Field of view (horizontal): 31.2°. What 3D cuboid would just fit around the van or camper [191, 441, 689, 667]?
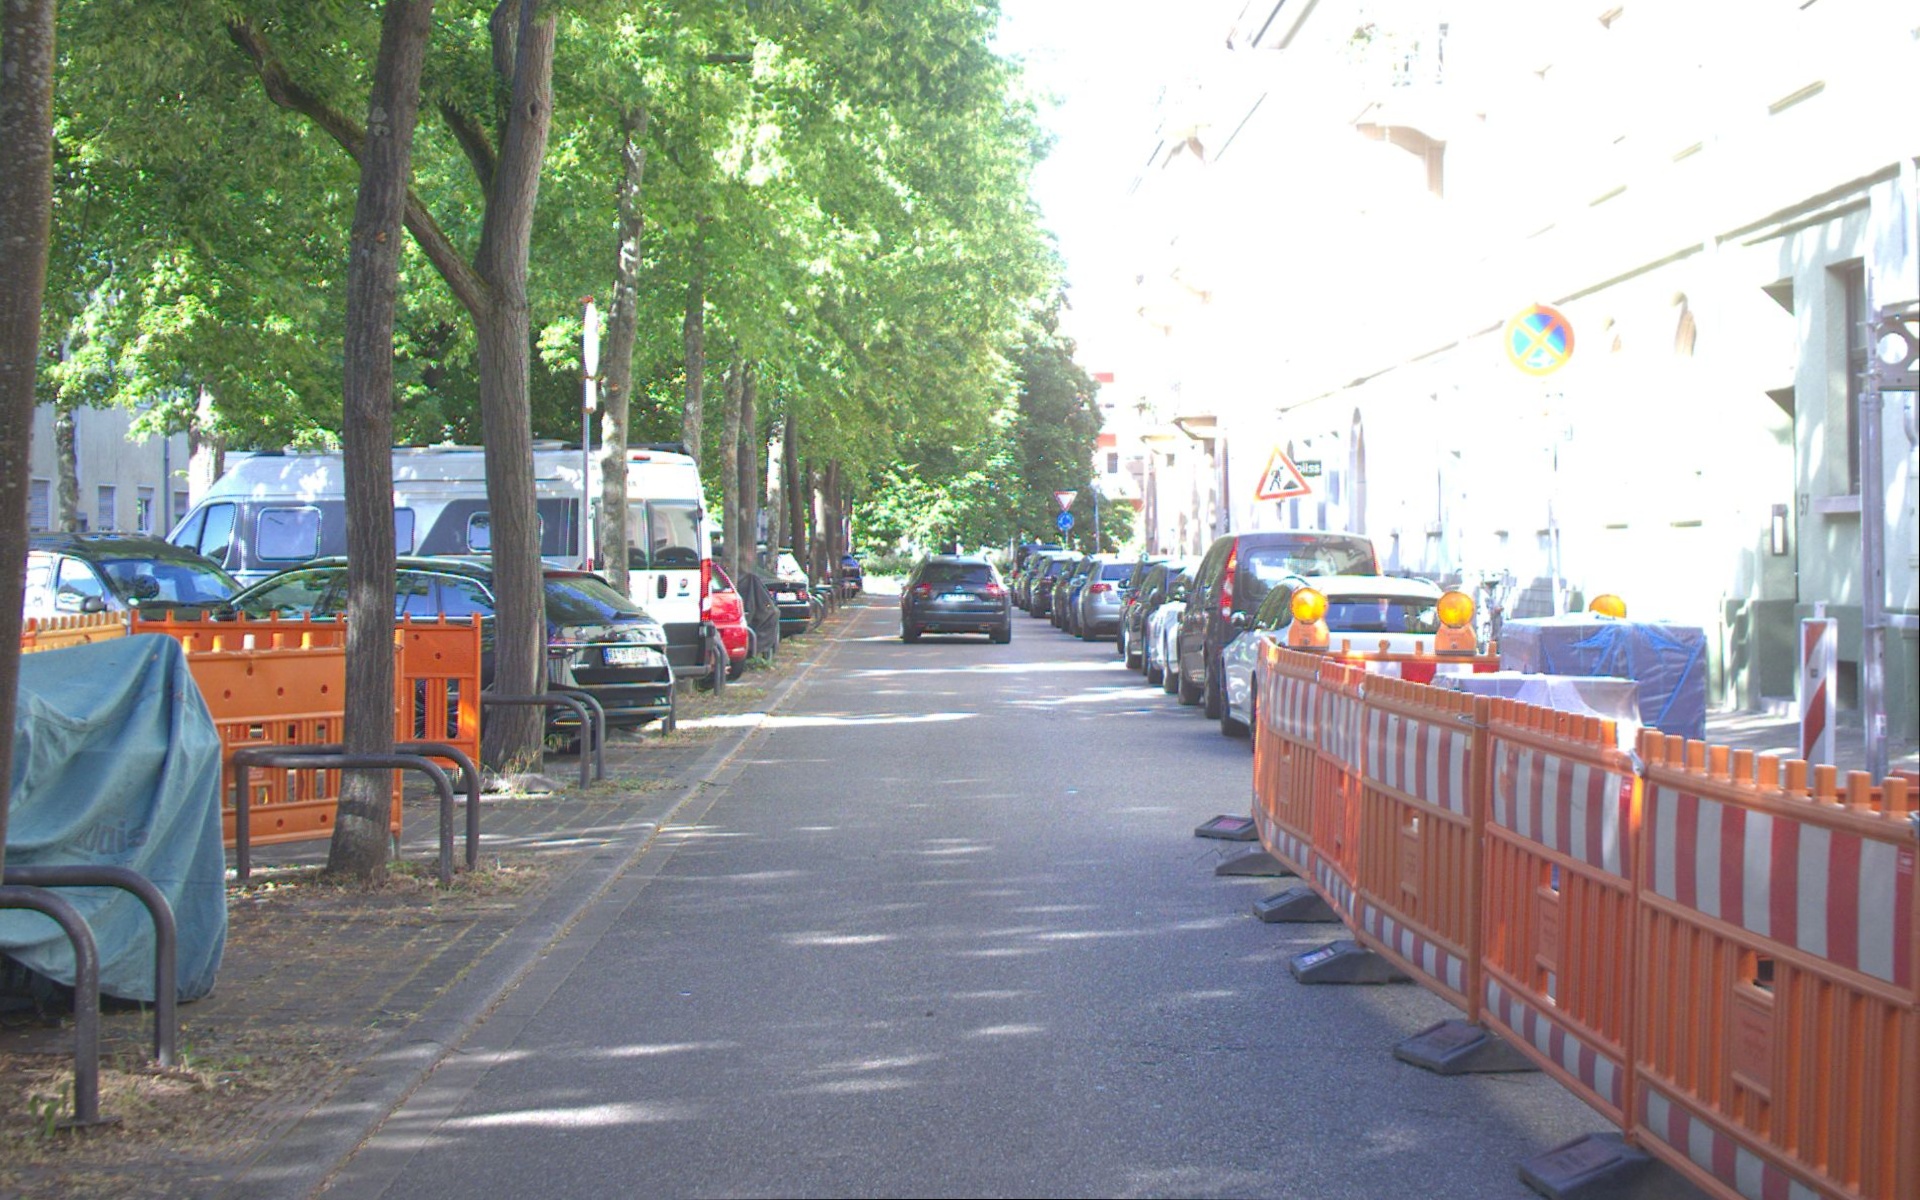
[{"bbox_3d":[-6.901,-0.643,45.421,6.296,2.815,2.404,1,1,28],"label":"van or camper"}]

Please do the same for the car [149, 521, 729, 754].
[{"bbox_3d":[-3.965,0.273,26.006,4.094,1.520,1.699,3,-1,30],"label":"car"}]

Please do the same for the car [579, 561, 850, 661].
[{"bbox_3d":[-3.804,0.166,53.007,4.015,1.469,1.623,-1,1,35],"label":"car"}]

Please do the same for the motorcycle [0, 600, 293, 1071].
[{"bbox_3d":[-2.855,0.676,10.636,0.631,1.320,2.227,1,1,15],"label":"motorcycle"}]

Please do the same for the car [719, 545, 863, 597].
[{"bbox_3d":[-5.118,-0.867,103.974,4.087,1.461,1.867,1,0,-11],"label":"car"}]

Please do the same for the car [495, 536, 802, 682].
[{"bbox_3d":[-3.722,0.091,40.622,1.659,1.612,3.879,-2,1,-40],"label":"car"}]

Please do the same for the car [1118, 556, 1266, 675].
[{"bbox_3d":[3.038,0.166,45.672,1.599,1.487,3.967,-1,1,-1],"label":"car"}]

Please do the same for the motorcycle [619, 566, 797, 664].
[{"bbox_3d":[-3.235,0.189,44.249,2.148,1.225,0.881,0,1,9],"label":"motorcycle"}]

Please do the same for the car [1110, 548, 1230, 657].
[{"bbox_3d":[3.091,0.004,51.143,1.580,1.545,4.042,0,1,1],"label":"car"}]

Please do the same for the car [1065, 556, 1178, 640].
[{"bbox_3d":[2.835,-0.061,61.127,1.770,1.426,4.291,-1,1,0],"label":"car"}]

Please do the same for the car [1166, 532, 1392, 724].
[{"bbox_3d":[3.125,0.235,34.367,1.771,1.787,3.990,-1,1,-2],"label":"car"}]

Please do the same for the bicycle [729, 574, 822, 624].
[{"bbox_3d":[-3.709,-0.025,69.030,1.812,0.990,0.425,0,0,15],"label":"bicycle"}]

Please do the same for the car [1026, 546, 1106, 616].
[{"bbox_3d":[2.476,-0.465,81.119,1.805,1.558,4.320,-1,1,1],"label":"car"}]

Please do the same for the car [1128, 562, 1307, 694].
[{"bbox_3d":[2.942,0.286,40.026,1.607,1.415,4.569,-1,1,-2],"label":"car"}]

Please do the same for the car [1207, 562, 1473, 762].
[{"bbox_3d":[3.093,0.456,28.723,1.704,1.506,4.284,-1,1,0],"label":"car"}]

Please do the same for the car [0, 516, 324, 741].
[{"bbox_3d":[-7.963,0.217,31.445,4.381,1.908,1.995,0,1,43],"label":"car"}]

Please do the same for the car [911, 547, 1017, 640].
[{"bbox_3d":[0.092,-0.135,58.589,1.714,1.478,4.144,-1,1,1],"label":"car"}]

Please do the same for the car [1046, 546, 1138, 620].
[{"bbox_3d":[2.696,-0.371,71.076,1.692,1.463,4.005,1,1,0],"label":"car"}]

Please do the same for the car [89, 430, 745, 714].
[{"bbox_3d":[-5.353,-0.289,33.478,6.319,2.550,2.334,1,0,32],"label":"car"}]

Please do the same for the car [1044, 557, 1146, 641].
[{"bbox_3d":[2.563,-0.046,66.195,1.767,1.546,4.184,-1,1,0],"label":"car"}]

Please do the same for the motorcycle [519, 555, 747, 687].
[{"bbox_3d":[-3.481,0.217,36.456,2.318,1.330,0.969,1,1,-9],"label":"motorcycle"}]
